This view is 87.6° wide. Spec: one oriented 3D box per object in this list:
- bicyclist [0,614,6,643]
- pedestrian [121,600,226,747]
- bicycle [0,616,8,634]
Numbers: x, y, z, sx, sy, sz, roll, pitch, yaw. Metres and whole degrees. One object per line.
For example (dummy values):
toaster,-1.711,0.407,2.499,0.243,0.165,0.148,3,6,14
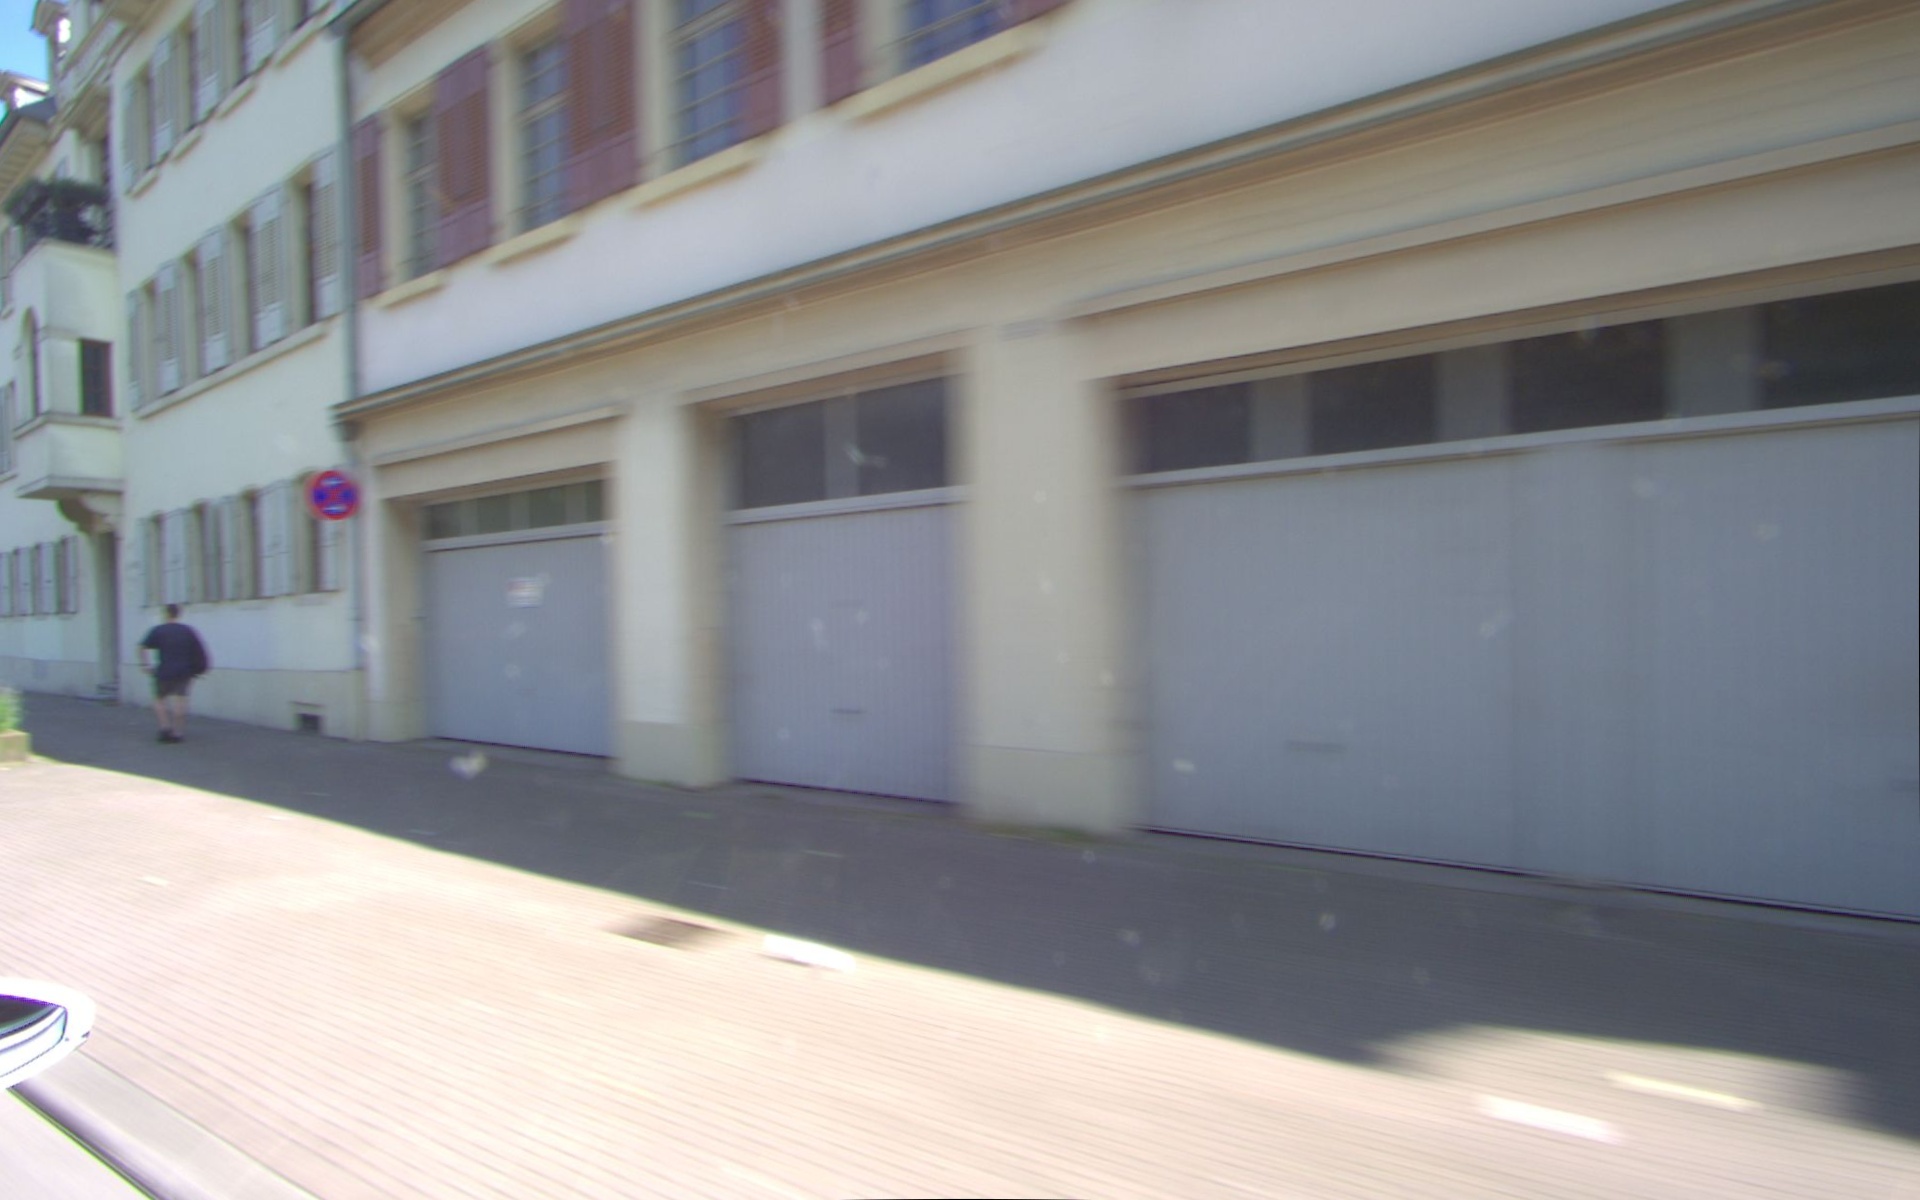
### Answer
bicyclist,-53.288,1.562,55.206,1.074,1.604,0.764,-1,0,34
pedestrian,-9.834,0.891,12.528,0.686,1.737,0.759,-1,3,35
bicycle,-53.179,1.396,55.126,1.758,0.976,0.748,-2,-1,34
